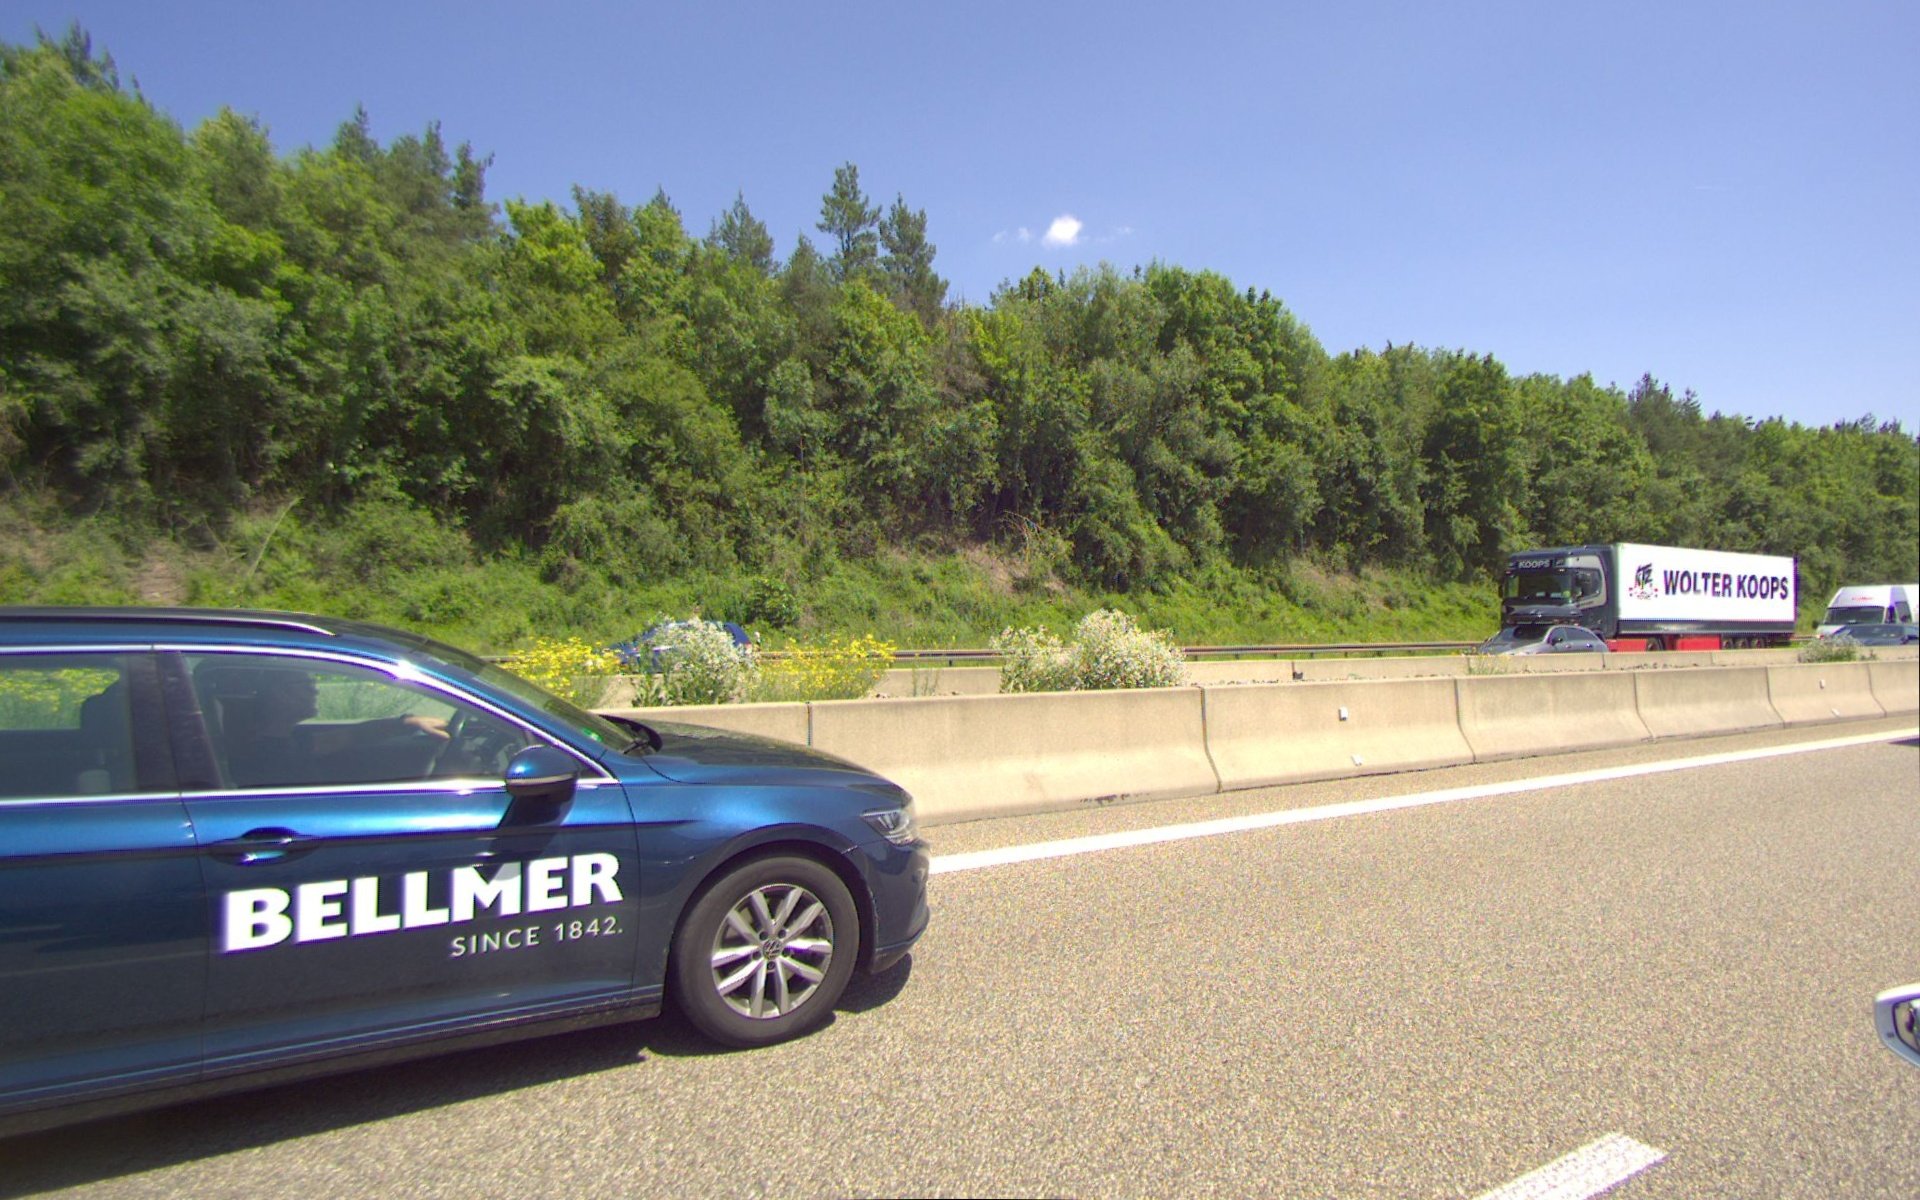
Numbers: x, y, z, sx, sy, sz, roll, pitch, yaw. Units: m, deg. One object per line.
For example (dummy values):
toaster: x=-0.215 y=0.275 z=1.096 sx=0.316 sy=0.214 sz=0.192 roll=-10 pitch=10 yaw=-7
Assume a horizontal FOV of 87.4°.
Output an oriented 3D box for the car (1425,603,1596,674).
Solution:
car: x=13.671 y=1.003 z=24.901 sx=4.462 sy=1.628 sz=1.679 roll=2 pitch=-4 yaw=-31

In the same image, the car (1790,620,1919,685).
car: x=24.150 y=1.426 z=26.892 sx=4.078 sy=1.628 sz=1.679 roll=2 pitch=-4 yaw=-31

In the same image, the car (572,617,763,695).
car: x=-6.184 y=1.145 z=21.331 sx=3.664 sy=1.528 sz=1.403 roll=1 pitch=-1 yaw=-30

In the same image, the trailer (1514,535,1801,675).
trailer: x=26.508 y=0.463 z=37.842 sx=13.177 sy=4.586 sz=3.707 roll=2 pitch=-3 yaw=-31

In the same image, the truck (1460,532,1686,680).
truck: x=21.130 y=0.381 z=34.596 sx=7.243 sy=4.586 sz=3.706 roll=2 pitch=-3 yaw=-31

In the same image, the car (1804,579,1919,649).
car: x=34.061 y=0.545 z=37.249 sx=7.279 sy=2.409 sz=1.984 roll=1 pitch=-1 yaw=-31

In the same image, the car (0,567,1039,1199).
car: x=-2.140 y=0.693 z=3.347 sx=4.674 sy=1.446 sz=1.724 roll=1 pitch=-3 yaw=-30
